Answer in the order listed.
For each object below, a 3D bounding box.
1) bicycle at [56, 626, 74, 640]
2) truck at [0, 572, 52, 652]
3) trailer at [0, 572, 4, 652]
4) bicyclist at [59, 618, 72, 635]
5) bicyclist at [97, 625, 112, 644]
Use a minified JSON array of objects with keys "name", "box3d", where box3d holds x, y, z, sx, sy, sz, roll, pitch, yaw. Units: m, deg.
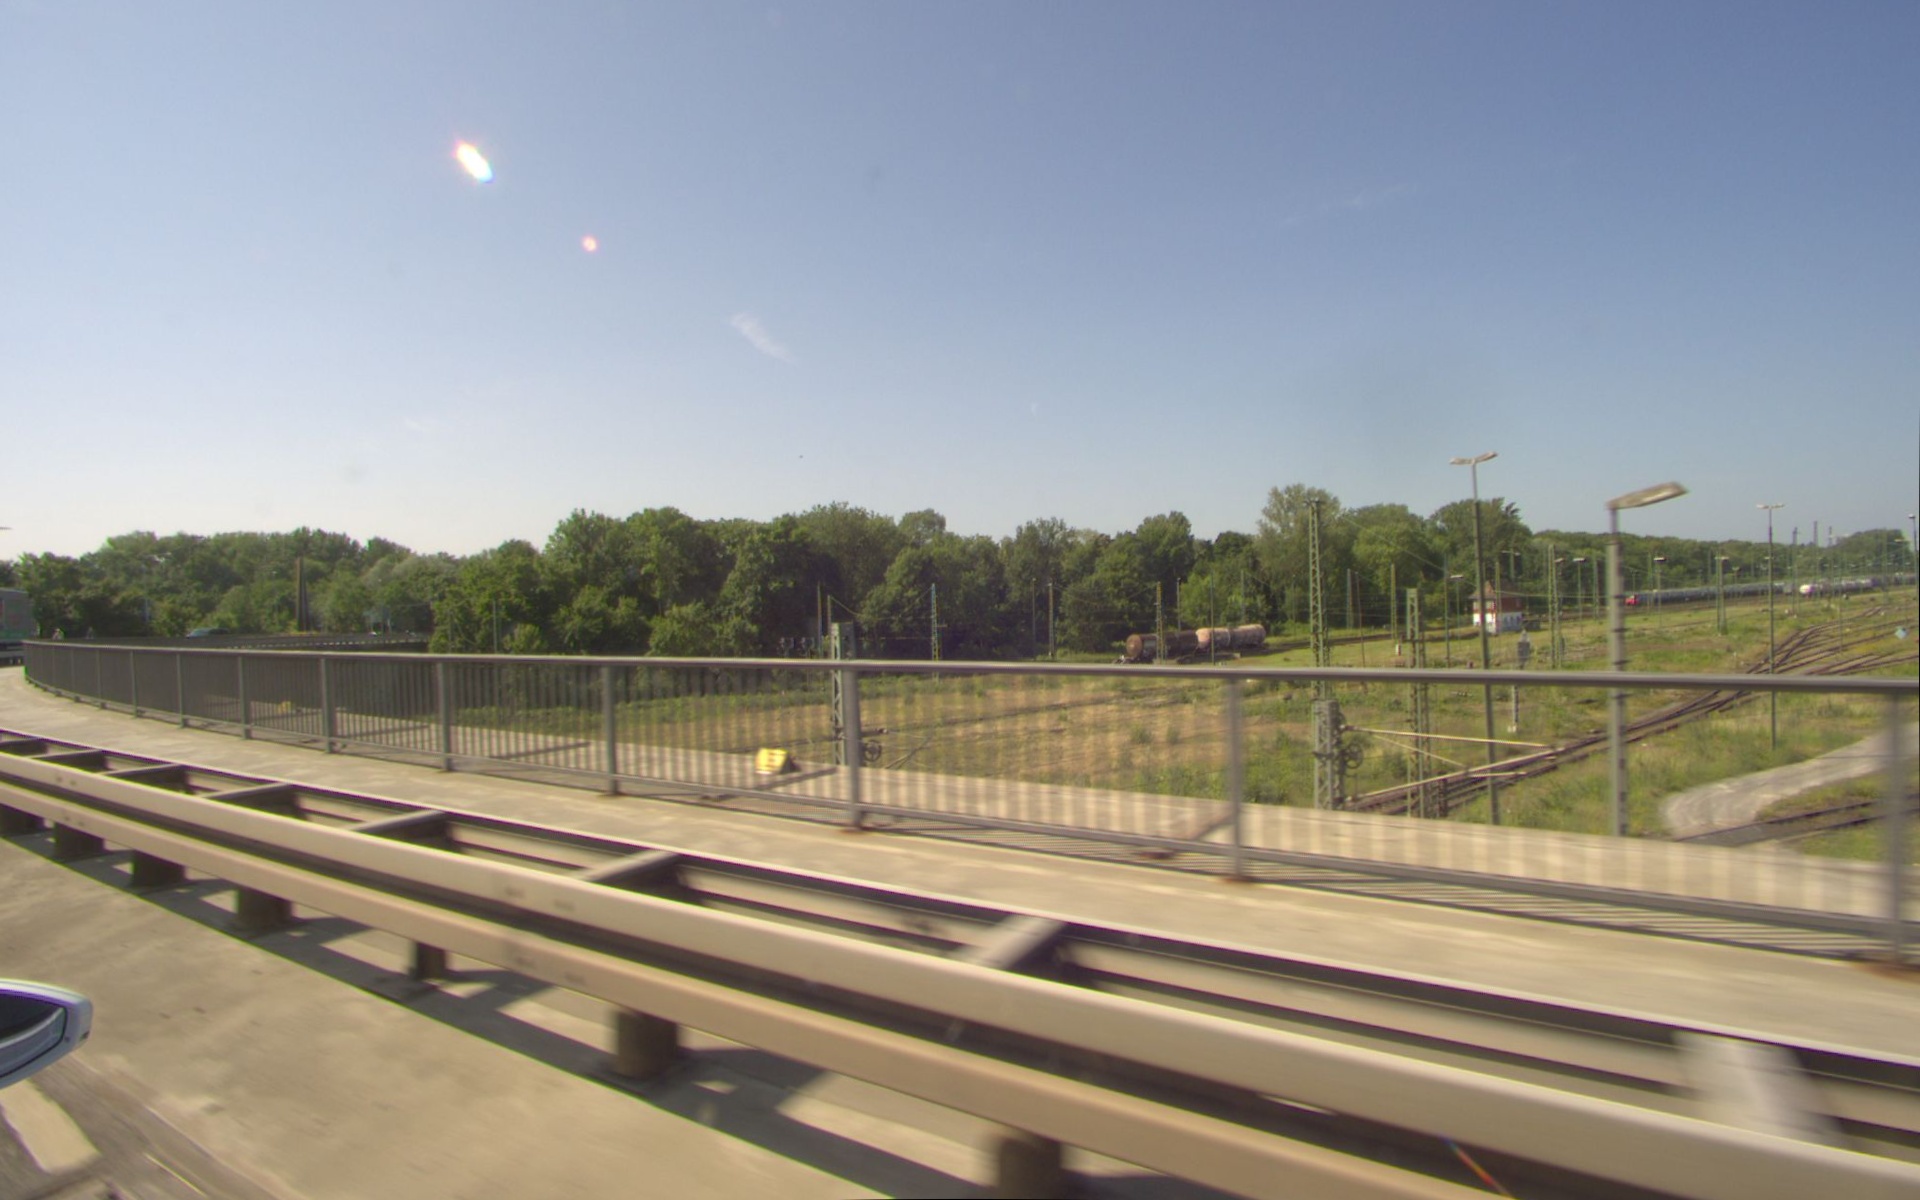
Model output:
[{"name":"bicycle","box3d":[-70.770,2.637,79.201,0.566,1.060,1.703,-2,1,-24]},{"name":"truck","box3d":[-48.980,0.560,50.307,3.226,3.806,8.325,2,-2,-30]},{"name":"trailer","box3d":[-44.886,0.487,43.484,3.191,3.806,7.779,2,-2,-32]},{"name":"bicyclist","box3d":[-70.733,2.076,79.157,0.482,1.345,0.943,0,-2,-25]},{"name":"bicyclist","box3d":[-70.505,2.860,82.535,0.651,1.516,1.013,0,1,-21]}]
